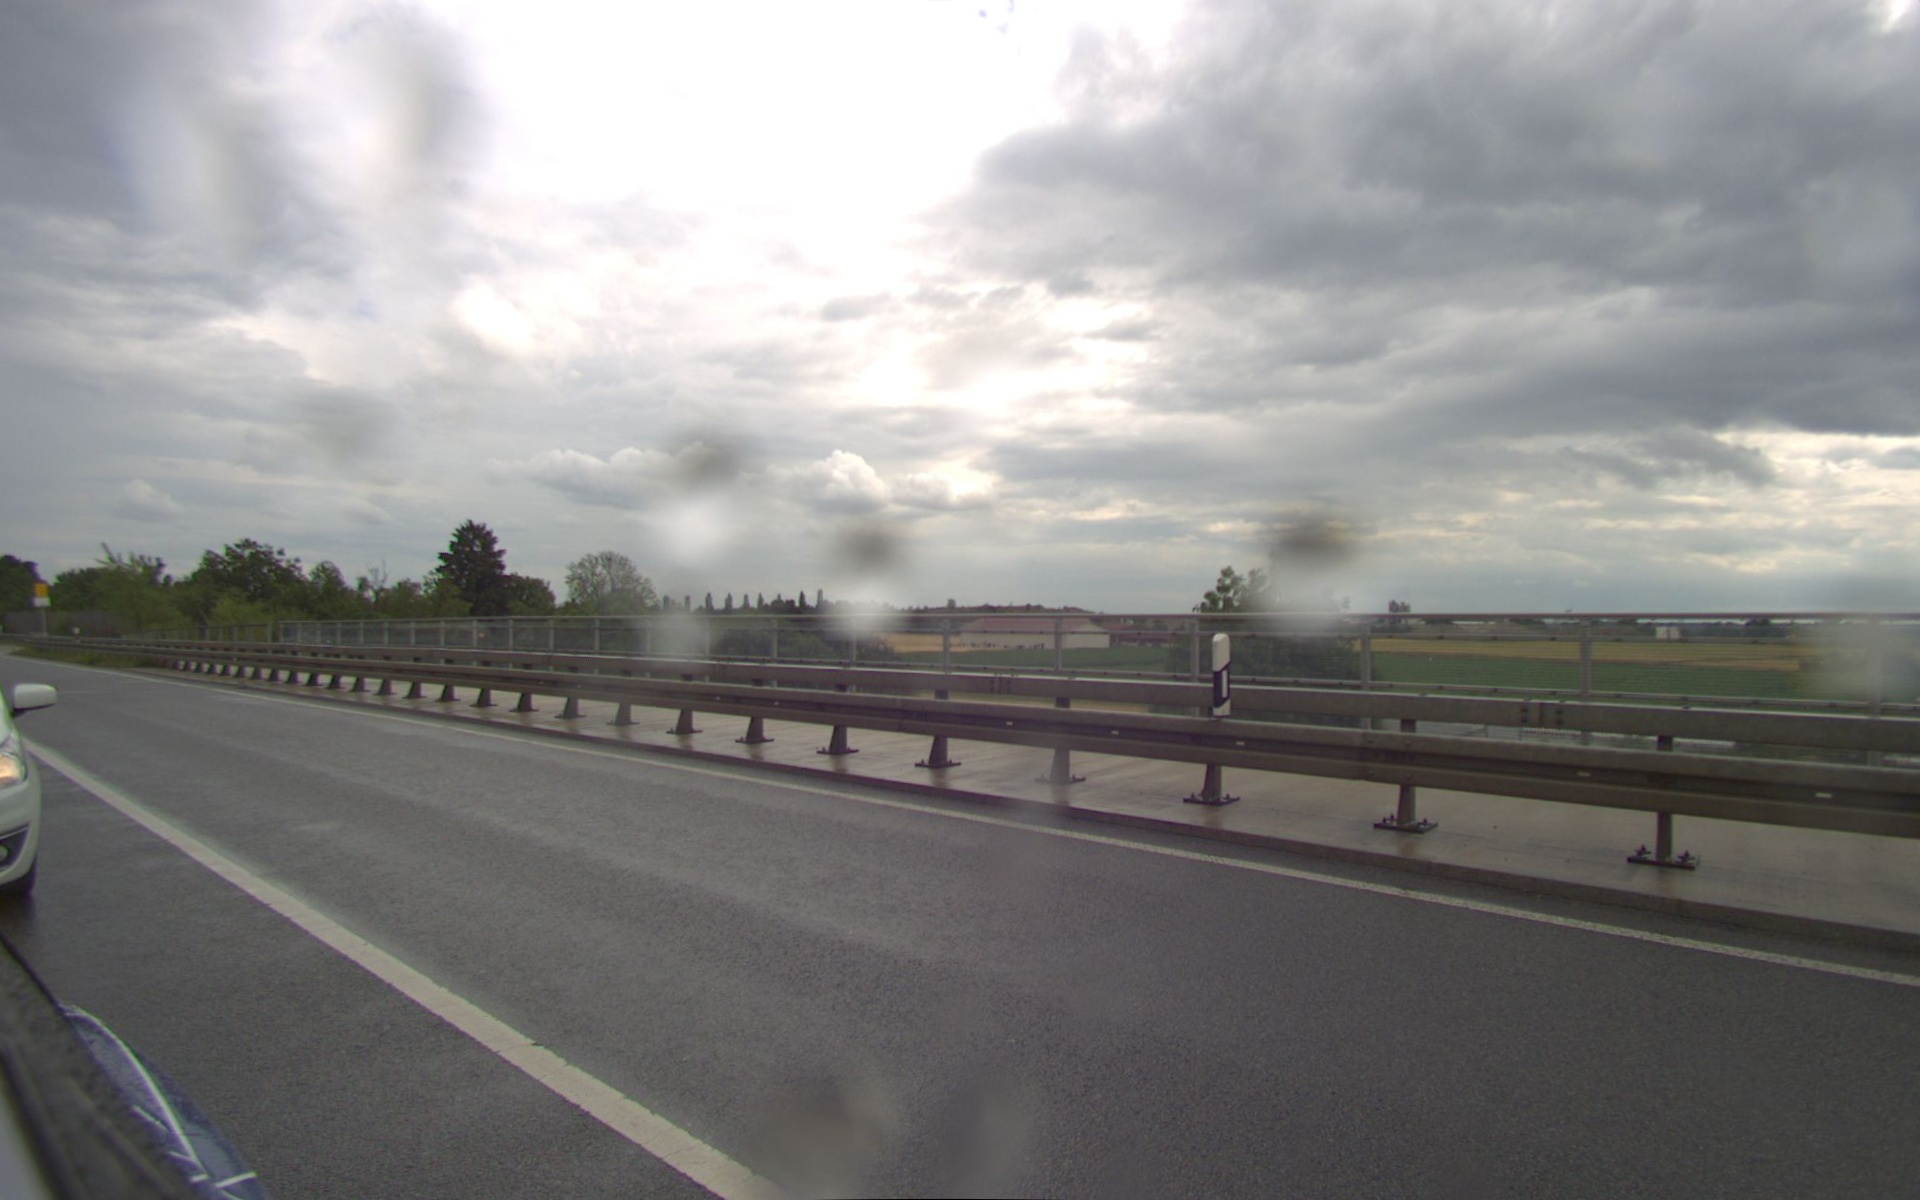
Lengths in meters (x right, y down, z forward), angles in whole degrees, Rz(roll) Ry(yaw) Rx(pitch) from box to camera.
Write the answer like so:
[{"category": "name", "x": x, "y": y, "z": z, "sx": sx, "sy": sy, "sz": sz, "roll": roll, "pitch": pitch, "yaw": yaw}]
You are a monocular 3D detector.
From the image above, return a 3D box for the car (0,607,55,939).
[{"category": "car", "x": -6.310, "y": 0.809, "z": 5.447, "sx": 4.127, "sy": 1.496, "sz": 1.653, "roll": -1, "pitch": 0, "yaw": 41}]
